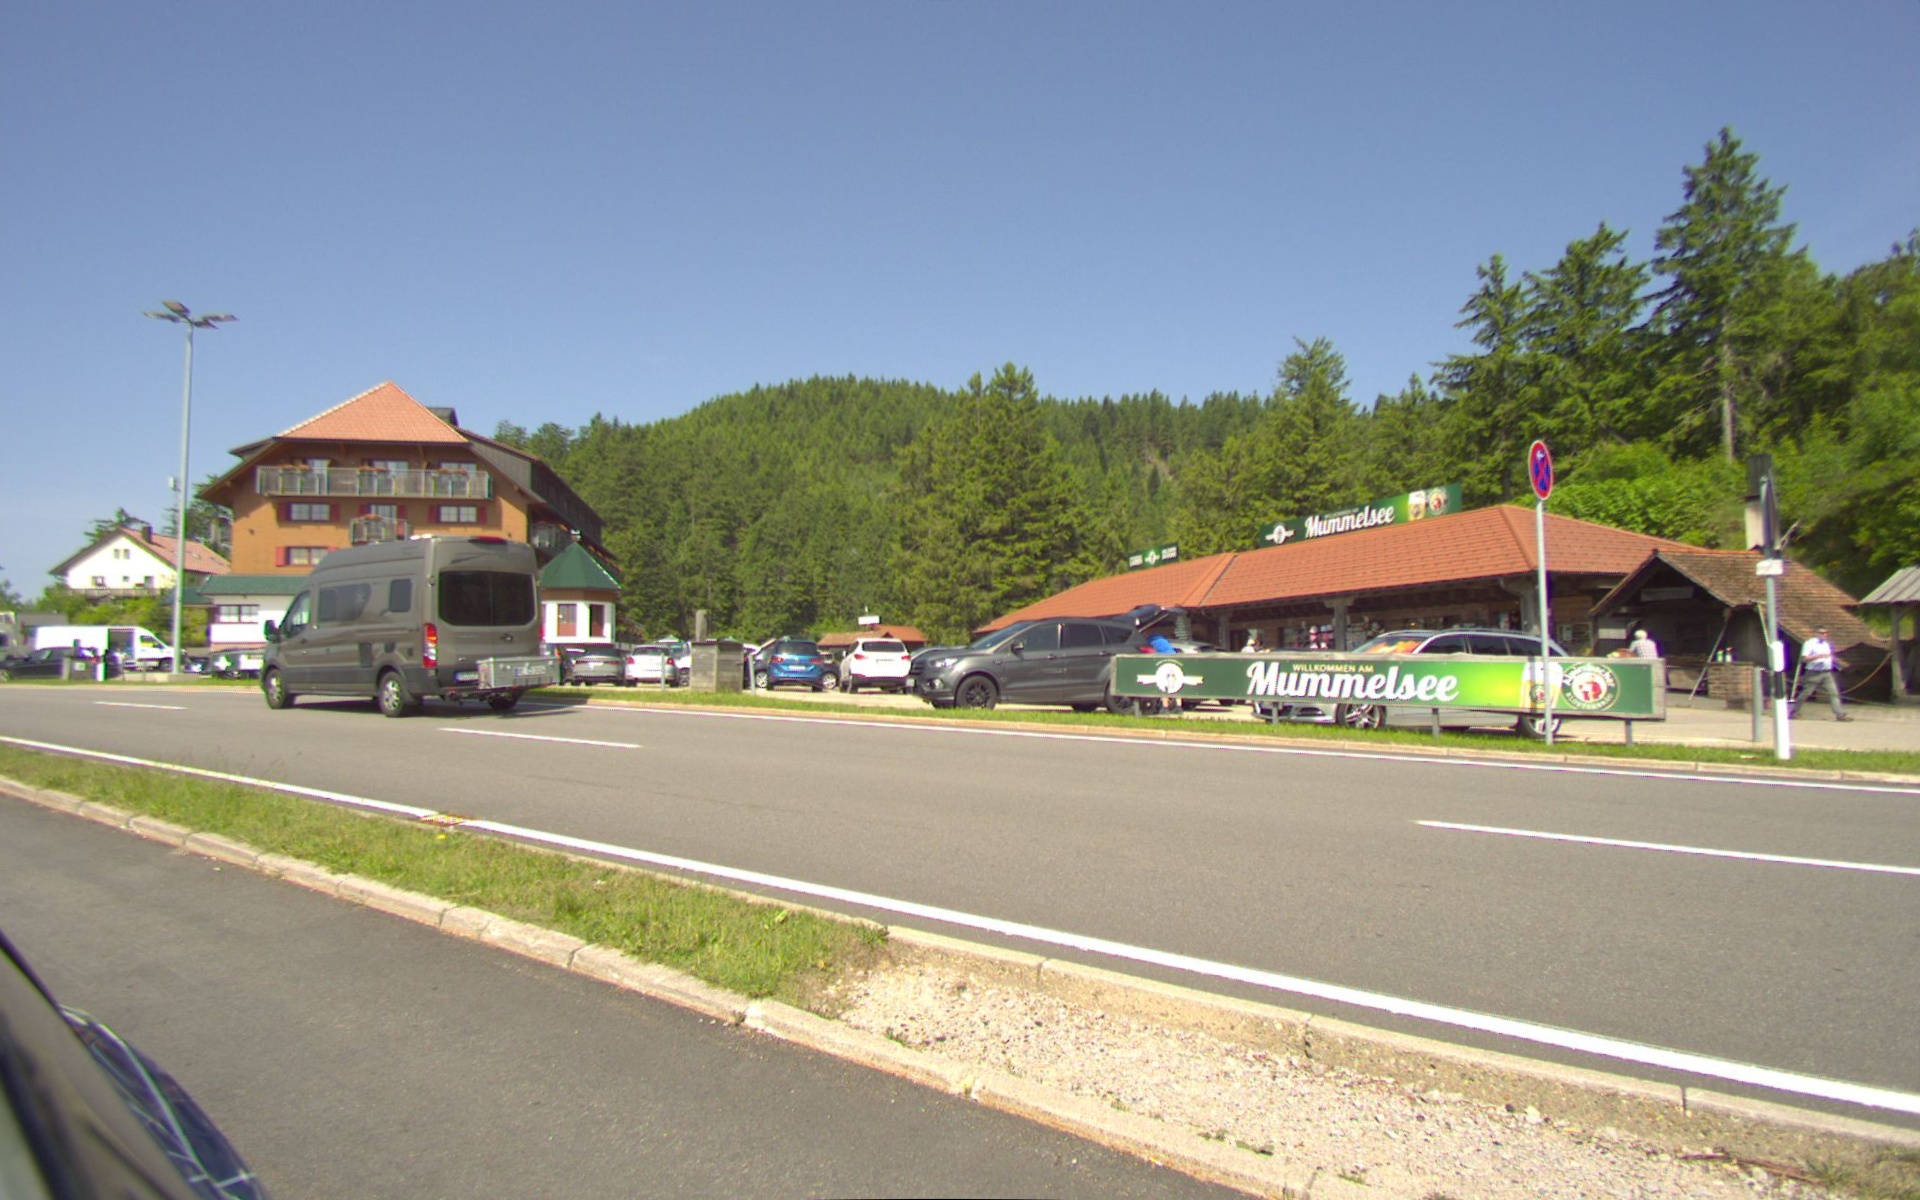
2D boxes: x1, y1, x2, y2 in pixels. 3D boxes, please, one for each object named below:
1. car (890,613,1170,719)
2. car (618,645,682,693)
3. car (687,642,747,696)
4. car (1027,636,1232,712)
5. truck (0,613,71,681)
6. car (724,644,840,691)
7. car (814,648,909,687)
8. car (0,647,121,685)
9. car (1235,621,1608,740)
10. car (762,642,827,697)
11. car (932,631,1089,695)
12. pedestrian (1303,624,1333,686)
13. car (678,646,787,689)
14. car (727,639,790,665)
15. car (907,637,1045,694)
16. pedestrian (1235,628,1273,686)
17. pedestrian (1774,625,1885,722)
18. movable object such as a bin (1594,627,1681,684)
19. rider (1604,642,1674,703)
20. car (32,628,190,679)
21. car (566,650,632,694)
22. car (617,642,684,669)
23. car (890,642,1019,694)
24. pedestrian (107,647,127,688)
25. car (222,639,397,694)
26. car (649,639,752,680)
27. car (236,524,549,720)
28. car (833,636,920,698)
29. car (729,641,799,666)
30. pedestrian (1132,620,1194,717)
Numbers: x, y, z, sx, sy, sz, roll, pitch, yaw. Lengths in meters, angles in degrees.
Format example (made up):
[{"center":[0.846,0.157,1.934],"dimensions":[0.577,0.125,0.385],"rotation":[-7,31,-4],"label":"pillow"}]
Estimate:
[{"center":[1.185,1.122,17.435],"dimensions":[4.474,1.669,1.727],"rotation":[1,-3,-17],"label":"car"},{"center":[-10.600,2.341,34.858],"dimensions":[1.794,1.524,4.105],"rotation":[1,-3,-13],"label":"car"},{"center":[-8.019,2.247,33.516],"dimensions":[1.794,1.641,4.105],"rotation":[1,-3,-13],"label":"car"},{"center":[3.501,1.480,20.731],"dimensions":[3.966,1.441,1.712],"rotation":[-1,-3,18],"label":"car"},{"center":[-56.974,2.868,60.453],"dimensions":[2.834,3.850,9.045],"rotation":[-1,-2,-21],"label":"truck"},{"center":[-6.591,2.479,37.409],"dimensions":[4.025,1.641,1.829],"rotation":[1,-3,-15],"label":"car"},{"center":[-4.564,3.094,46.761],"dimensions":[4.024,1.729,1.926],"rotation":[1,-3,-17],"label":"car"},{"center":[-37.642,2.728,41.893],"dimensions":[4.024,1.539,1.830],"rotation":[1,-3,-19],"label":"car"},{"center":[6.144,1.051,13.613],"dimensions":[4.427,1.441,1.726],"rotation":[1,-3,-14],"label":"car"},{"center":[-5.420,2.219,32.822],"dimensions":[1.794,1.641,4.105],"rotation":[1,-3,-13],"label":"car"},{"center":[1.408,1.774,28.627],"dimensions":[4.026,1.729,1.925],"rotation":[1,-3,-14],"label":"car"},{"center":[11.921,1.817,33.683],"dimensions":[0.721,2.029,0.916],"rotation":[-2,-3,34],"label":"pedestrian"},{"center":[-8.891,2.619,39.529],"dimensions":[4.025,1.641,1.829],"rotation":[1,-3,-15],"label":"car"},{"center":[-13.529,3.507,67.965],"dimensions":[4.026,1.729,1.925],"rotation":[1,-3,-14],"label":"car"},{"center":[0.489,2.076,32.332],"dimensions":[4.026,1.729,1.925],"rotation":[1,-3,-14],"label":"car"},{"center":[10.499,2.014,36.123],"dimensions":[0.948,2.029,0.859],"rotation":[1,-2,-21],"label":"pedestrian"},{"center":[16.024,1.339,18.675],"dimensions":[0.962,1.711,1.166],"rotation":[1,-3,-20],"label":"pedestrian"},{"center":[14.642,1.187,21.911],"dimensions":[0.969,1.198,1.218],"rotation":[0,-2,-5],"label":"movable object such as a bin"},{"center":[14.631,1.557,21.840],"dimensions":[0.826,1.284,0.910],"rotation":[0,-2,-5],"label":"rider"},{"center":[-49.307,3.091,59.034],"dimensions":[6.855,2.812,2.671],"rotation":[2,-3,-40],"label":"car"},{"center":[-13.184,2.600,37.125],"dimensions":[1.794,1.524,4.105],"rotation":[1,-3,-13],"label":"car"},{"center":[-19.978,3.582,65.385],"dimensions":[4.026,1.729,1.925],"rotation":[1,-3,-14],"label":"car"},{"center":[-0.204,2.324,34.835],"dimensions":[4.024,1.729,1.926],"rotation":[1,-3,-17],"label":"car"},{"center":[-38.987,3.101,46.789],"dimensions":[0.663,1.878,0.752],"rotation":[2,-4,-40],"label":"pedestrian"},{"center":[-20.140,2.062,31.531],"dimensions":[4.199,1.641,1.829],"rotation":[1,-3,-15],"label":"car"},{"center":[-10.757,2.475,41.961],"dimensions":[4.025,1.641,1.829],"rotation":[1,-3,-15],"label":"car"},{"center":[-9.512,0.419,16.776],"dimensions":[5.899,2.772,1.995],"rotation":[-2,-3,33],"label":"car"},{"center":[-2.588,1.972,30.350],"dimensions":[1.888,1.729,4.106],"rotation":[1,-3,-15],"label":"car"},{"center":[-13.970,3.809,72.058],"dimensions":[4.764,1.729,1.925],"rotation":[1,-3,-14],"label":"car"},{"center":[3.560,1.191,17.796],"dimensions":[0.733,1.648,0.849],"rotation":[1,-3,-18],"label":"pedestrian"}]
